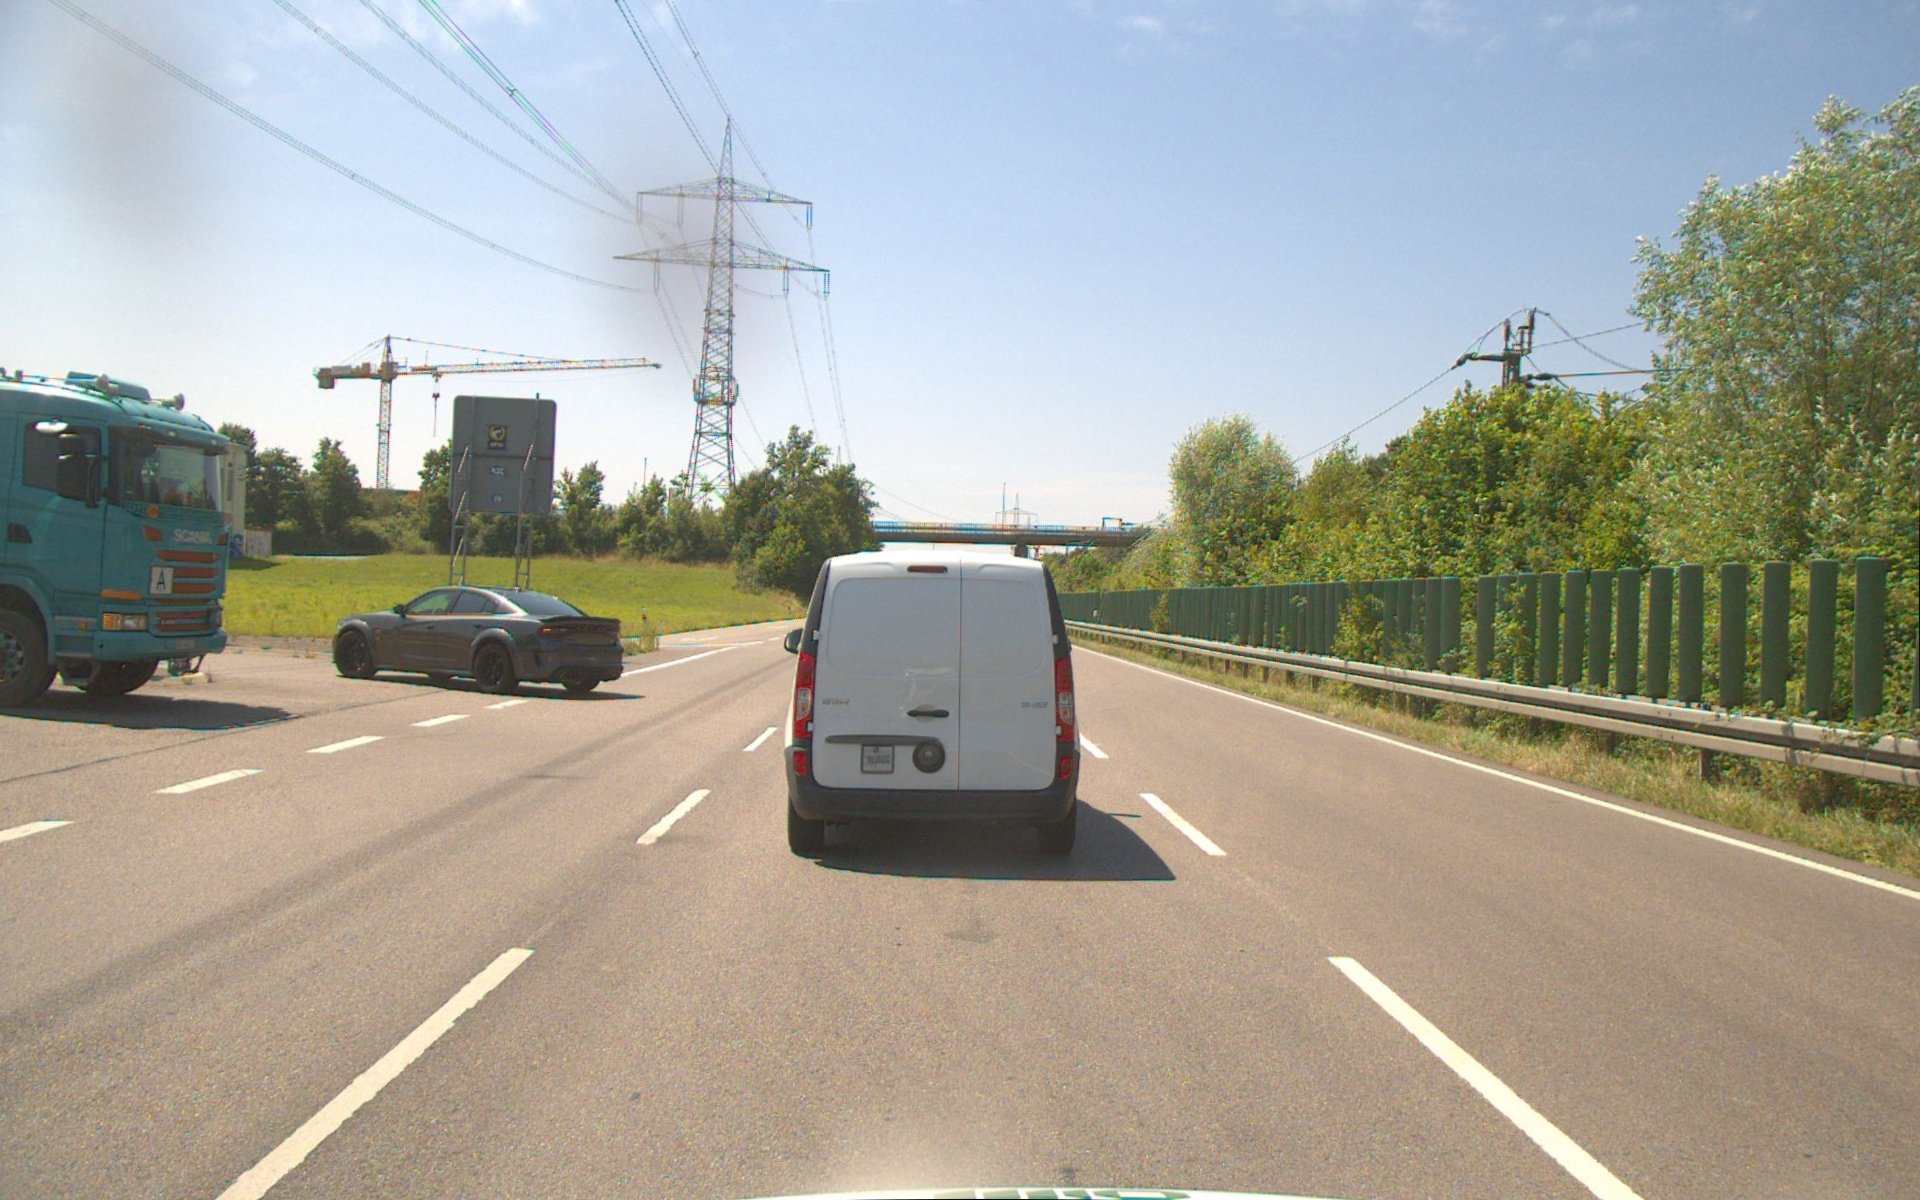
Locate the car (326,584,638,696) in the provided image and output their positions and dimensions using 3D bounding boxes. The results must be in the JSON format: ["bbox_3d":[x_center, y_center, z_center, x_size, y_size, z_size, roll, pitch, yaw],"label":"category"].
[{"bbox_3d":[-7.161,0.562,24.645,4.554,1.421,1.857,2,0,31],"label":"car"}]

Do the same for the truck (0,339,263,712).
[{"bbox_3d":[-12.337,-0.976,18.576,7.742,3.799,2.498,4,0,1],"label":"truck"}]

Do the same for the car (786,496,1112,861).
[{"bbox_3d":[-0.208,0.440,11.181,1.791,2.005,3.996,1,0,-5],"label":"car"}]
